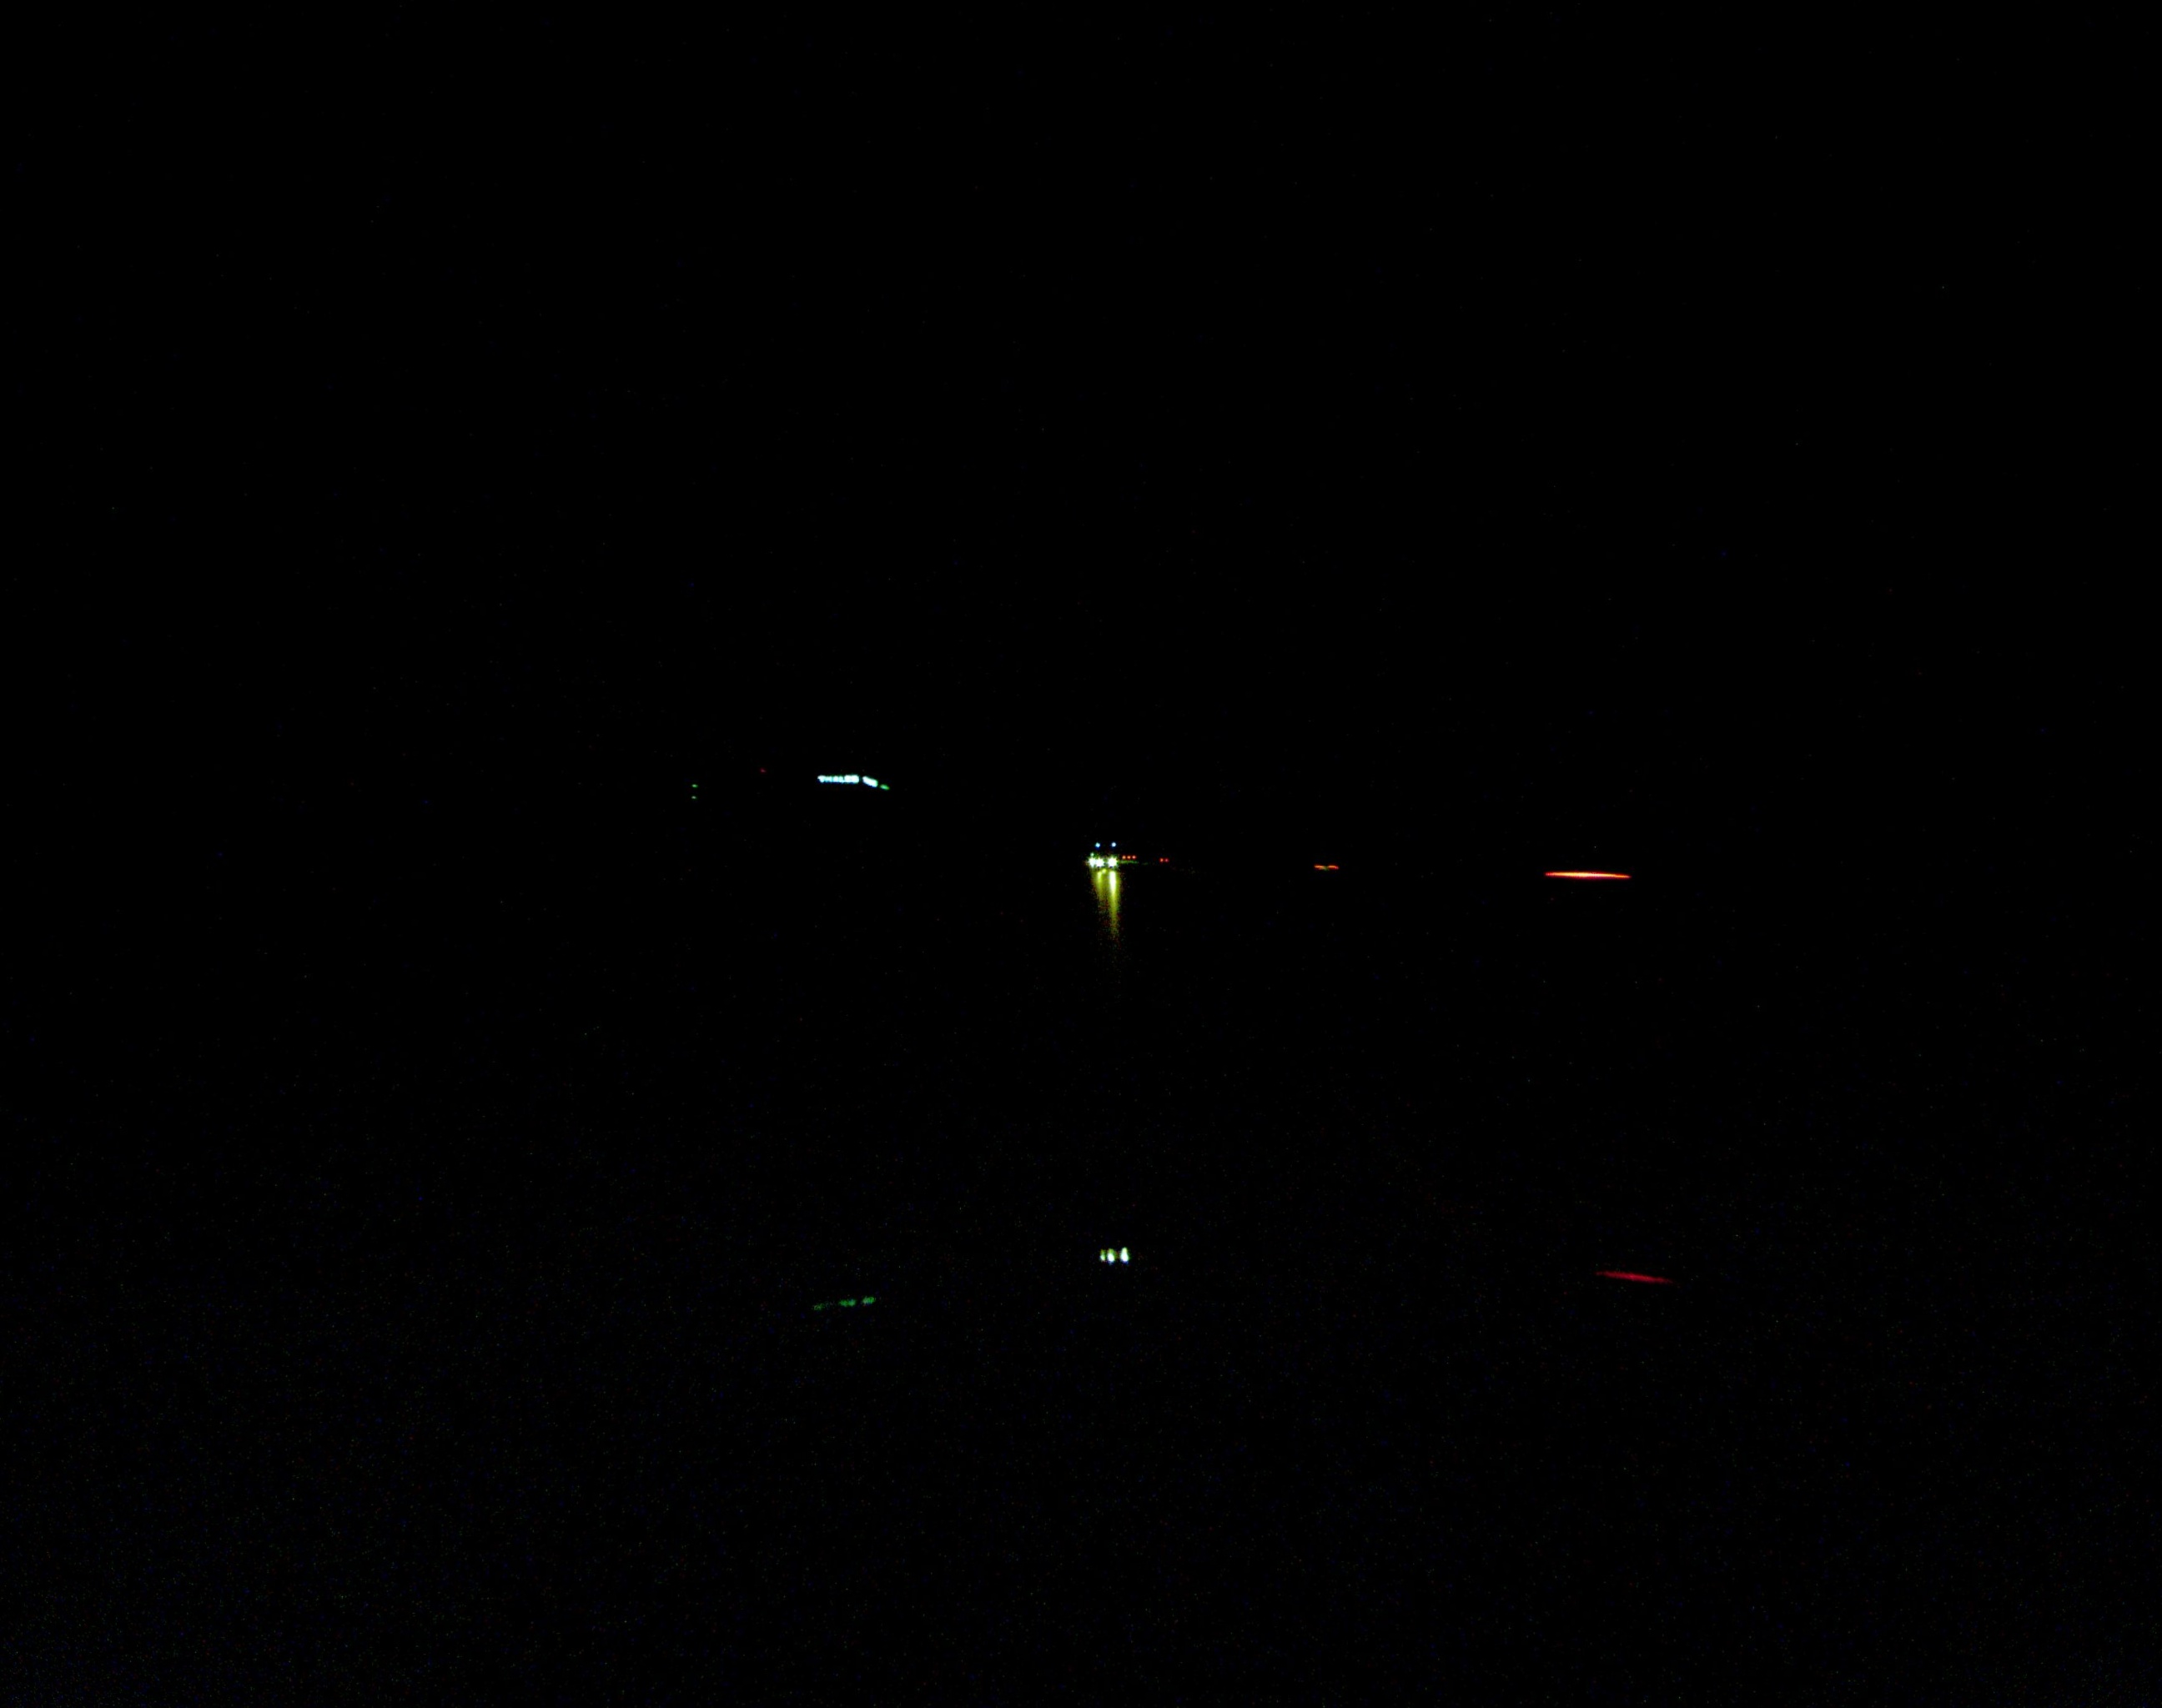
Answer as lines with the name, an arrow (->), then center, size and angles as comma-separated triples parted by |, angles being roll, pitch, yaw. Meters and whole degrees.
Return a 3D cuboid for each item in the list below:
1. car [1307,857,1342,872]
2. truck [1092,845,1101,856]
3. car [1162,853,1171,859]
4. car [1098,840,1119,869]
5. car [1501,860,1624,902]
car -> 22.016, 0.904, 68.788 | 1.908, 1.275, 4.350 | 0, 0, 3
truck -> 5.366, -1.155, 260.291 | 3.042, 3.726, 7.561 | 0, 0, 2
car -> 23.710, 0.664, 210.829 | 1.908, 1.608, 4.404 | 0, 0, 1
car -> 3.223, 0.040, 89.880 | 2.255, 3.205, 6.879 | -2, 0, 2
car -> 19.755, 1.056, 31.500 | 1.968, 1.529, 5.186 | 0, 0, 3
